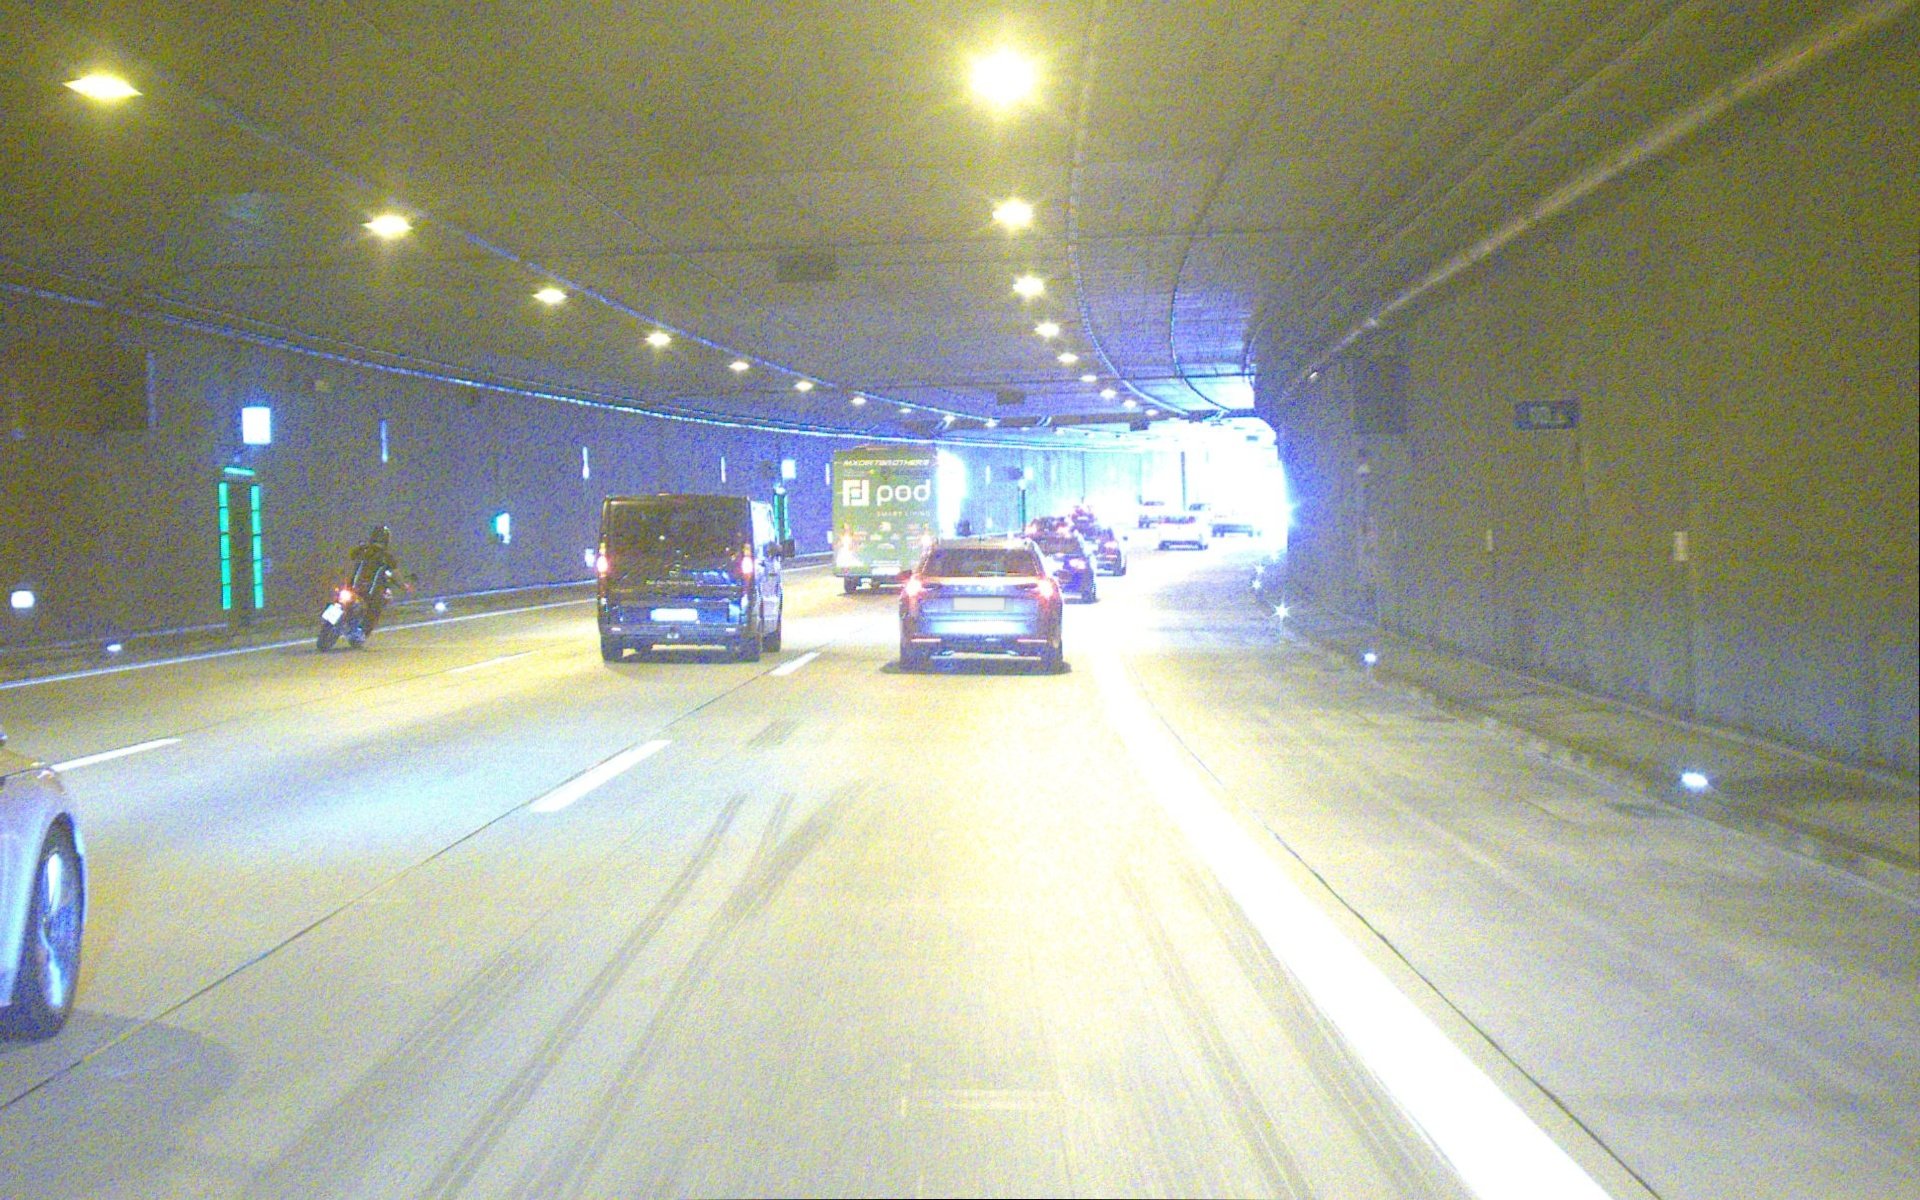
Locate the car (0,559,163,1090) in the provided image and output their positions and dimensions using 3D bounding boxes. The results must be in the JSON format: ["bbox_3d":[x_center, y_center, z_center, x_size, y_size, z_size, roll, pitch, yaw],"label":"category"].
[{"bbox_3d":[-3.445,0.637,8.745,1.702,1.414,5.061,-1,1,-1],"label":"car"}]

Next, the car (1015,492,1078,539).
[{"bbox_3d":[3.166,-3.065,125.322,1.994,1.626,3.999,0,1,6],"label":"car"}]

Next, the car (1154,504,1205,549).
[{"bbox_3d":[8.542,-2.849,134.093,1.931,1.637,3.999,0,0,3],"label":"car"}]

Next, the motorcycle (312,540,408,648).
[{"bbox_3d":[-7.398,-0.070,42.507,0.683,1.292,2.398,0,0,2],"label":"motorcycle"}]

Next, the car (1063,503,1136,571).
[{"bbox_3d":[3.825,-1.705,94.552,1.950,1.766,4.000,0,0,2],"label":"car"}]

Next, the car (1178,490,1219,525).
[{"bbox_3d":[12.277,-4.742,176.762,1.994,1.626,3.999,0,0,6],"label":"car"}]

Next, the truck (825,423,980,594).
[{"bbox_3d":[-1.209,-2.017,77.391,3.039,3.660,7.392,0,1,2],"label":"truck"}]

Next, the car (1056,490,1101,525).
[{"bbox_3d":[5.711,-4.447,165.740,1.931,1.637,3.999,0,1,6],"label":"car"}]

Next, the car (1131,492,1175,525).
[{"bbox_3d":[10.640,-5.028,189.402,1.931,1.637,3.998,0,0,10],"label":"car"}]

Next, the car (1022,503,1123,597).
[{"bbox_3d":[2.305,-1.012,69.520,1.857,1.848,3.999,0,1,5],"label":"car"}]

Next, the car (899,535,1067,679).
[{"bbox_3d":[0.304,0.038,38.792,1.742,1.459,3.871,0,2,3],"label":"car"}]

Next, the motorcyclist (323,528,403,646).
[{"bbox_3d":[-7.380,-0.155,42.540,0.777,1.447,1.069,0,0,2],"label":"motorcyclist"}]

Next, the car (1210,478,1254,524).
[{"bbox_3d":[12.738,-4.628,161.034,1.994,2.007,3.999,0,0,4],"label":"car"}]

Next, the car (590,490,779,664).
[{"bbox_3d":[-3.233,-0.320,40.997,1.909,1.937,3.871,0,2,0],"label":"car"}]
